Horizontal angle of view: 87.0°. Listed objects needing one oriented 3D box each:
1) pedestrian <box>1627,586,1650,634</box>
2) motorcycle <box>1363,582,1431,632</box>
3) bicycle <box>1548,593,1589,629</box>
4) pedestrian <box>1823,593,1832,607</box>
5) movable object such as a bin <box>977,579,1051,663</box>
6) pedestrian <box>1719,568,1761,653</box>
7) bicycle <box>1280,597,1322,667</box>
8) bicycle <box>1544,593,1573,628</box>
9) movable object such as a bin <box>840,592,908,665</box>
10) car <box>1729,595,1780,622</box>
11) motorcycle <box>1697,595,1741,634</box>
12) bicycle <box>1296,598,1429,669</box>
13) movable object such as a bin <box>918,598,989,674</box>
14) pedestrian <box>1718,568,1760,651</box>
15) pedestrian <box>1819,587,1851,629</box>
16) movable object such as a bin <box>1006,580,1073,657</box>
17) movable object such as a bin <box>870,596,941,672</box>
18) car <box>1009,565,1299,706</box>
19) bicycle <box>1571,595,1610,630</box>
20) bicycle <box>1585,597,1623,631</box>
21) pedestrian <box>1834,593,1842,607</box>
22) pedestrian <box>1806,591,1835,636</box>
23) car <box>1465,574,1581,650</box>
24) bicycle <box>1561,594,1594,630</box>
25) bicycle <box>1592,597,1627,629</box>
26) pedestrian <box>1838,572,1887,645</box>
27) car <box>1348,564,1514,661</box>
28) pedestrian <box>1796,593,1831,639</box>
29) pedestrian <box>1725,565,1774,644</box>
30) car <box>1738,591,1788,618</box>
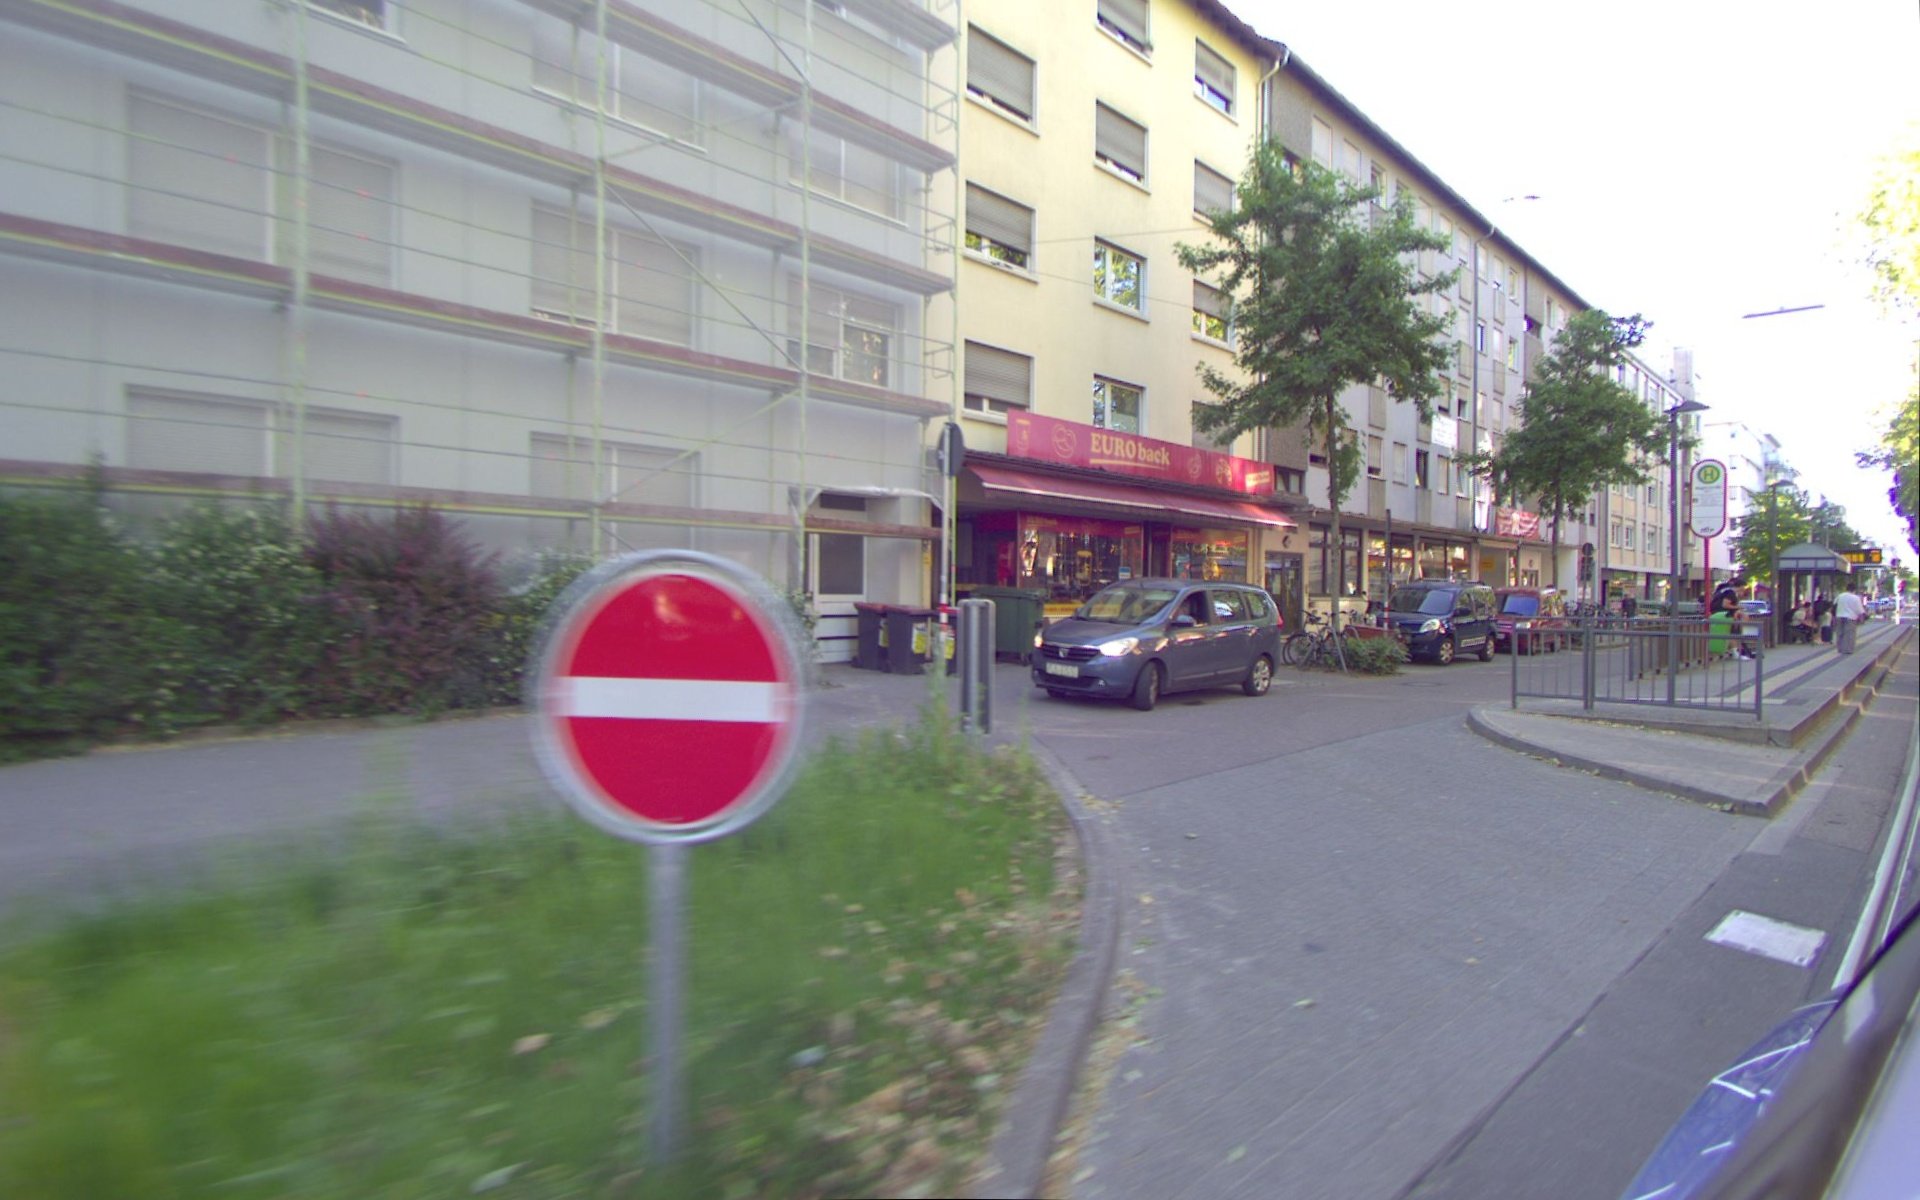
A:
[{"bbox_3d":[26.325,0.386,39.250,0.677,1.827,0.762,-1,0,39],"label":"pedestrian"},{"bbox_3d":[13.011,0.231,30.104,0.952,1.332,2.609,8,4,42],"label":"motorcycle"},{"bbox_3d":[22.153,0.396,36.803,0.771,1.194,2.742,7,4,40],"label":"bicycle"},{"bbox_3d":[102.194,-0.016,119.213,0.683,1.675,0.824,-1,-1,43],"label":"pedestrian"},{"bbox_3d":[0.960,0.345,17.910,0.999,1.414,0.812,3,2,43],"label":"movable object such as a bin"},{"bbox_3d":[16.617,0.220,21.555,0.686,1.777,0.572,-1,-1,39],"label":"pedestrian"},{"bbox_3d":[6.676,0.589,19.885,0.675,1.224,2.200,2,2,16],"label":"bicycle"},{"bbox_3d":[22.235,0.365,37.631,0.767,1.194,2.753,7,3,30],"label":"bicycle"},{"bbox_3d":[-1.403,0.442,16.529,0.880,1.124,0.686,3,2,43],"label":"movable object such as a bin"},{"bbox_3d":[46.505,0.480,59.195,1.895,1.505,3.936,0,0,45],"label":"car"},{"bbox_3d":[29.478,0.555,39.289,1.052,1.473,2.173,-1,0,45],"label":"motorcycle"},{"bbox_3d":[7.936,0.625,20.028,1.013,1.224,2.206,0,2,-44],"label":"bicycle"},{"bbox_3d":[-0.109,0.550,15.961,0.880,1.124,0.686,3,2,43],"label":"movable object such as a bin"},{"bbox_3d":[17.035,0.202,22.131,0.689,1.792,0.495,0,-1,-30],"label":"pedestrian"},{"bbox_3d":[33.519,0.297,38.775,0.837,1.596,0.650,0,0,-27],"label":"pedestrian"},{"bbox_3d":[1.481,0.323,18.833,0.923,1.367,0.812,3,2,43],"label":"movable object such as a bin"},{"bbox_3d":[-0.863,0.520,16.038,0.880,1.124,0.686,3,2,43],"label":"movable object such as a bin"},{"bbox_3d":[2.838,0.416,14.177,4.368,1.642,1.764,1,2,-44],"label":"car"},{"bbox_3d":[23.800,0.473,38.163,0.771,1.194,2.742,7,4,40],"label":"bicycle"},{"bbox_3d":[24.949,0.533,39.199,0.771,1.194,2.742,7,4,40],"label":"bicycle"},{"bbox_3d":[102.910,-0.018,118.582,0.683,1.675,0.824,-1,-1,43],"label":"pedestrian"},{"bbox_3d":[25.852,0.397,30.415,0.582,1.322,0.520,-1,-1,34],"label":"pedestrian"},{"bbox_3d":[15.546,0.287,27.858,1.690,1.775,4.109,9,6,43],"label":"car"},{"bbox_3d":[22.968,0.421,37.672,0.767,1.194,2.755,7,3,28],"label":"bicycle"},{"bbox_3d":[26.224,0.541,40.838,0.771,1.194,2.742,7,4,40],"label":"bicycle"},{"bbox_3d":[21.691,0.200,24.325,0.629,1.734,0.834,0,-1,-44],"label":"pedestrian"},{"bbox_3d":[10.886,0.246,23.256,4.124,1.919,1.997,0,4,-44],"label":"car"},{"bbox_3d":[25.416,0.469,30.143,0.716,1.343,0.487,-1,0,35],"label":"pedestrian"},{"bbox_3d":[17.602,0.103,22.568,0.842,1.722,0.683,-1,-1,39],"label":"pedestrian"},{"bbox_3d":[50.175,0.270,63.206,1.994,1.601,3.936,0,0,45],"label":"car"}]
